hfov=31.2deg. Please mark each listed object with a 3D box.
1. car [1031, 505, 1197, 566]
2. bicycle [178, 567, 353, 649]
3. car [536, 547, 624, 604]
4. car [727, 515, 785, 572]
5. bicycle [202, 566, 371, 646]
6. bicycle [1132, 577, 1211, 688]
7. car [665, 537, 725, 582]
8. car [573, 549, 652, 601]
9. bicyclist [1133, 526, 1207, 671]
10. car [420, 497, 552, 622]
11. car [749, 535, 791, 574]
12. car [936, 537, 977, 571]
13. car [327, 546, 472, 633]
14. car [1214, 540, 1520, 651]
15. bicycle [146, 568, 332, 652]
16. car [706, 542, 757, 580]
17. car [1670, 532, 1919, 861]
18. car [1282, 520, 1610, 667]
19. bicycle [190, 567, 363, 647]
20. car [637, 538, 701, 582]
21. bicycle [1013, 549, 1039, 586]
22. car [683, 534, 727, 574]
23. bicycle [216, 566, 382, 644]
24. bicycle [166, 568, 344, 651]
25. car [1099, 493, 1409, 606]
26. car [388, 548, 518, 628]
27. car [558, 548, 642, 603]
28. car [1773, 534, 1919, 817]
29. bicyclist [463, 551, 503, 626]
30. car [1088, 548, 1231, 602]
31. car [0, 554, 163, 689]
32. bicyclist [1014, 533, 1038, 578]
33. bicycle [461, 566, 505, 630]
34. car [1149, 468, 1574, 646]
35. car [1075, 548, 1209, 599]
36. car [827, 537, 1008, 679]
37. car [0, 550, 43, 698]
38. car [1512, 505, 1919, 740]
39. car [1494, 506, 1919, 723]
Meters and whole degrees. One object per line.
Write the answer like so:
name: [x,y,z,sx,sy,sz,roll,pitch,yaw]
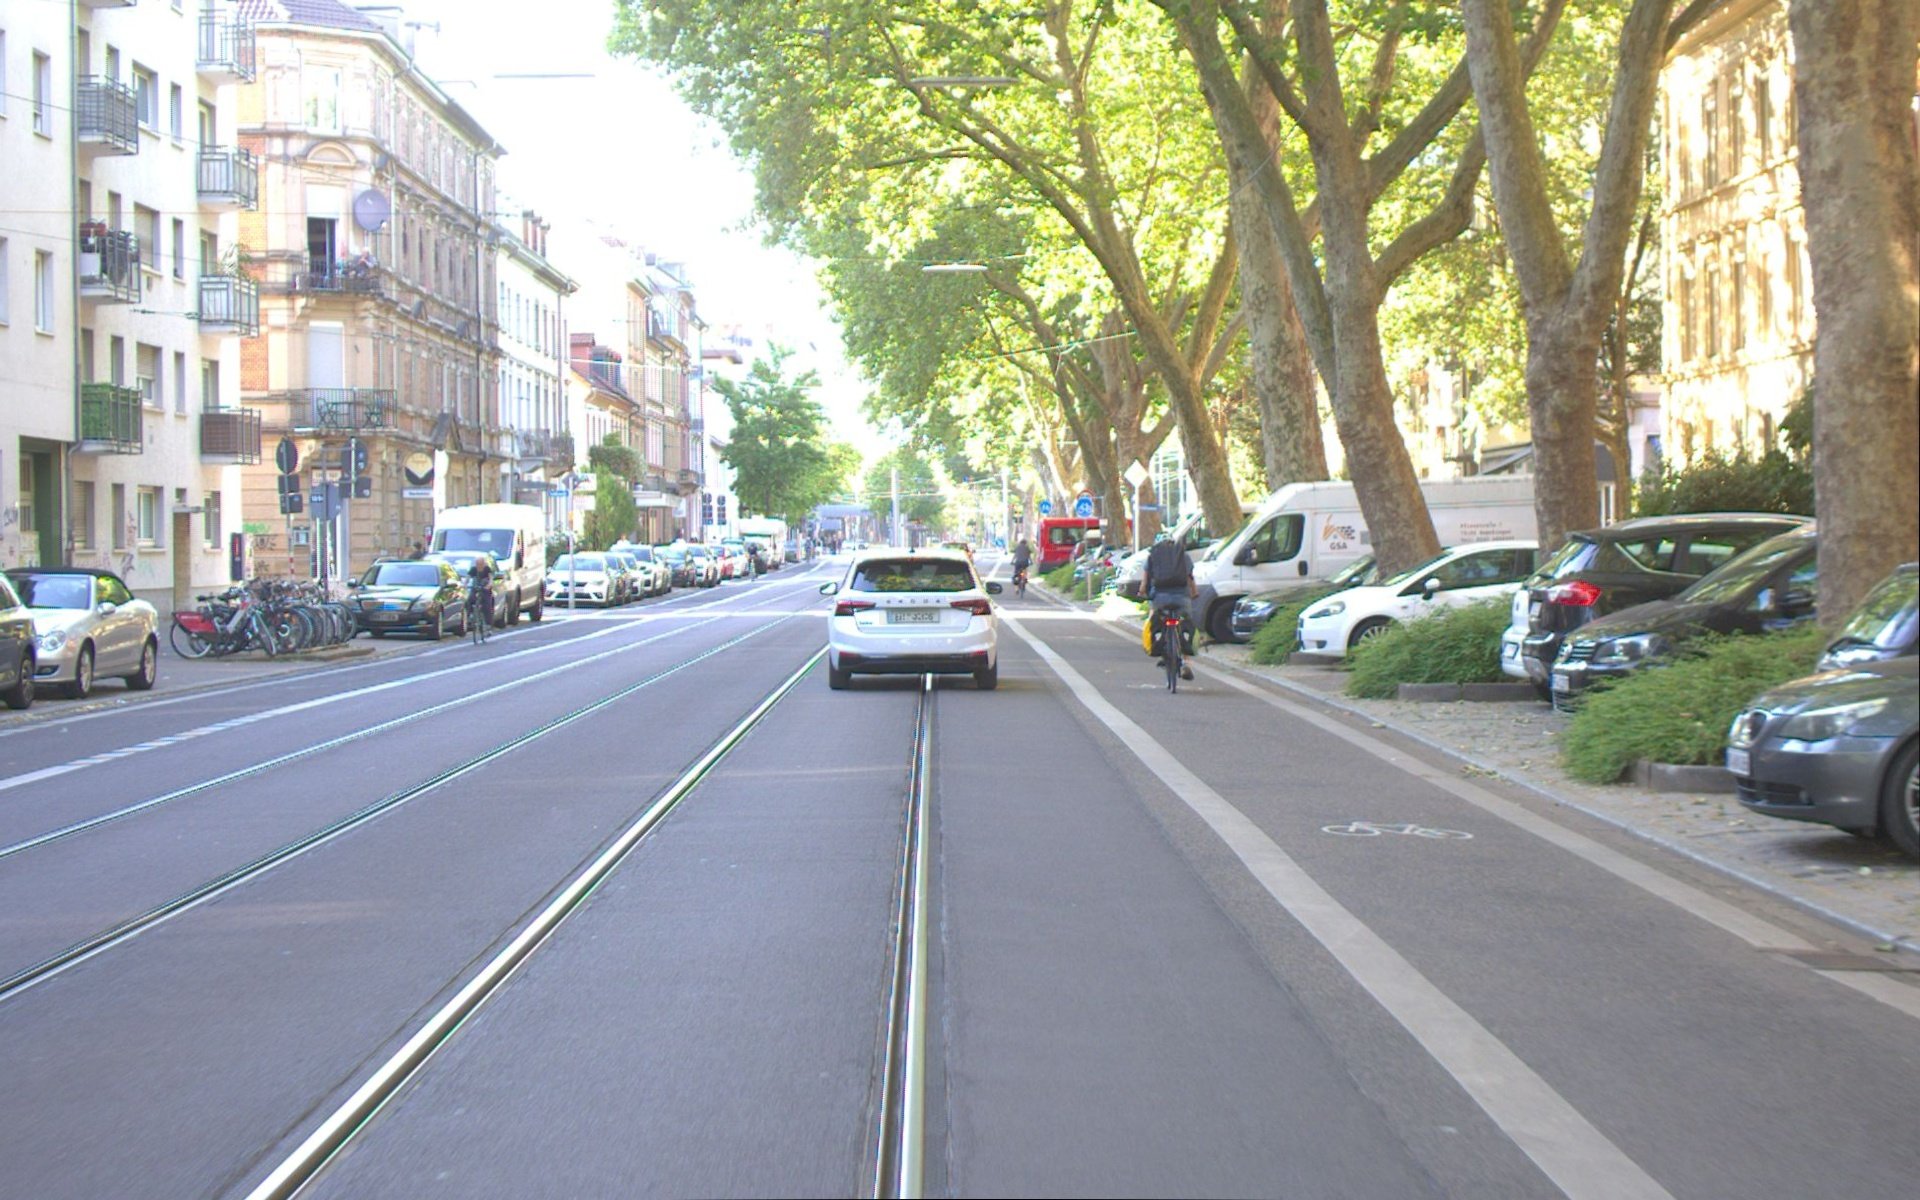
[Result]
car: [5.849,-2.461,131.430,6.130,2.274,2.529,0,1,-2]
bicycle: [-10.536,0.131,52.215,2.524,1.168,0.719,2,-1,-5]
car: [-10.417,-0.688,94.526,1.993,1.525,4.000,0,1,0]
car: [-11.668,-3.214,197.073,2.968,3.145,5.847,1,0,0]
bicycle: [-10.579,0.098,54.052,2.524,1.168,0.719,2,-1,-5]
bicycle: [2.129,0.312,34.832,0.681,1.067,1.781,-1,1,0]
car: [-10.039,-1.526,130.522,1.993,1.634,4.000,1,0,0]
car: [-10.466,-0.765,103.681,1.993,1.525,4.000,0,1,0]
bicyclist: [2.128,-0.025,34.873,0.678,1.438,1.047,-1,1,0]
car: [-10.182,-0.893,74.192,2.178,2.588,4.949,0,1,0]
car: [-9.828,-2.375,178.101,1.993,2.007,4.000,0,1,0]
car: [-0.163,-2.036,151.536,1.761,1.470,4.000,-1,1,0]
car: [-10.143,-0.213,62.475,1.993,1.525,4.000,0,1,0]
car: [5.855,-0.082,49.771,4.048,1.535,2.000,0,1,-6]
bicycle: [-10.568,0.156,50.446,2.525,1.168,0.883,2,-1,-40]
car: [-10.022,-1.696,150.999,1.993,1.634,4.000,1,0,0]
car: [5.758,0.416,16.824,4.142,1.509,1.931,0,1,-1]
car: [5.661,-0.091,40.349,3.634,1.661,1.822,0,1,2]
bicycle: [-10.568,0.112,53.203,2.524,1.168,0.719,2,-1,-5]
car: [-10.456,-1.447,123.832,1.993,1.525,4.000,0,1,0]
bicycle: [1.971,-0.976,102.651,0.649,1.067,1.583,-1,1,-2]
car: [-13.014,-2.334,175.627,1.993,2.007,4.000,0,1,0]
bicycle: [-10.582,0.088,55.106,2.524,1.168,0.719,2,-1,-6]
bicycle: [-10.513,0.146,51.328,2.524,1.168,0.719,2,-1,-6]
car: [6.042,-1.050,71.213,6.130,2.274,2.529,0,1,-2]
car: [-10.032,-0.266,68.256,1.993,1.525,4.000,0,1,0]
car: [-10.311,-0.722,98.754,1.993,1.525,4.000,0,1,0]
car: [6.768,0.375,19.265,3.987,1.509,1.761,0,1,-1]
bicyclist: [-8.244,-0.210,59.474,0.597,1.282,0.917,-1,1,-3]
car: [5.812,-0.735,100.693,4.049,1.535,2.000,0,1,0]
car: [-10.116,0.202,38.183,1.485,1.398,3.990,0,1,2]
bicyclist: [1.964,-1.323,102.618,0.649,1.339,0.934,-1,1,-2]
bicycle: [-8.246,-0.046,59.490,0.605,1.067,1.583,-1,1,-3]
car: [6.069,-0.664,52.596,6.130,2.626,2.529,0,1,-2]
car: [5.659,-0.834,107.242,4.049,1.535,2.000,0,1,0]
car: [-0.425,0.044,35.845,1.761,1.379,4.000,-1,1,0]
car: [-10.180,0.241,33.370,1.653,1.432,3.837,0,1,-2]
car: [6.364,0.138,25.431,4.234,1.661,1.848,0,1,-1]
car: [6.456,0.095,27.737,3.987,1.674,1.724,0,1,-1]
